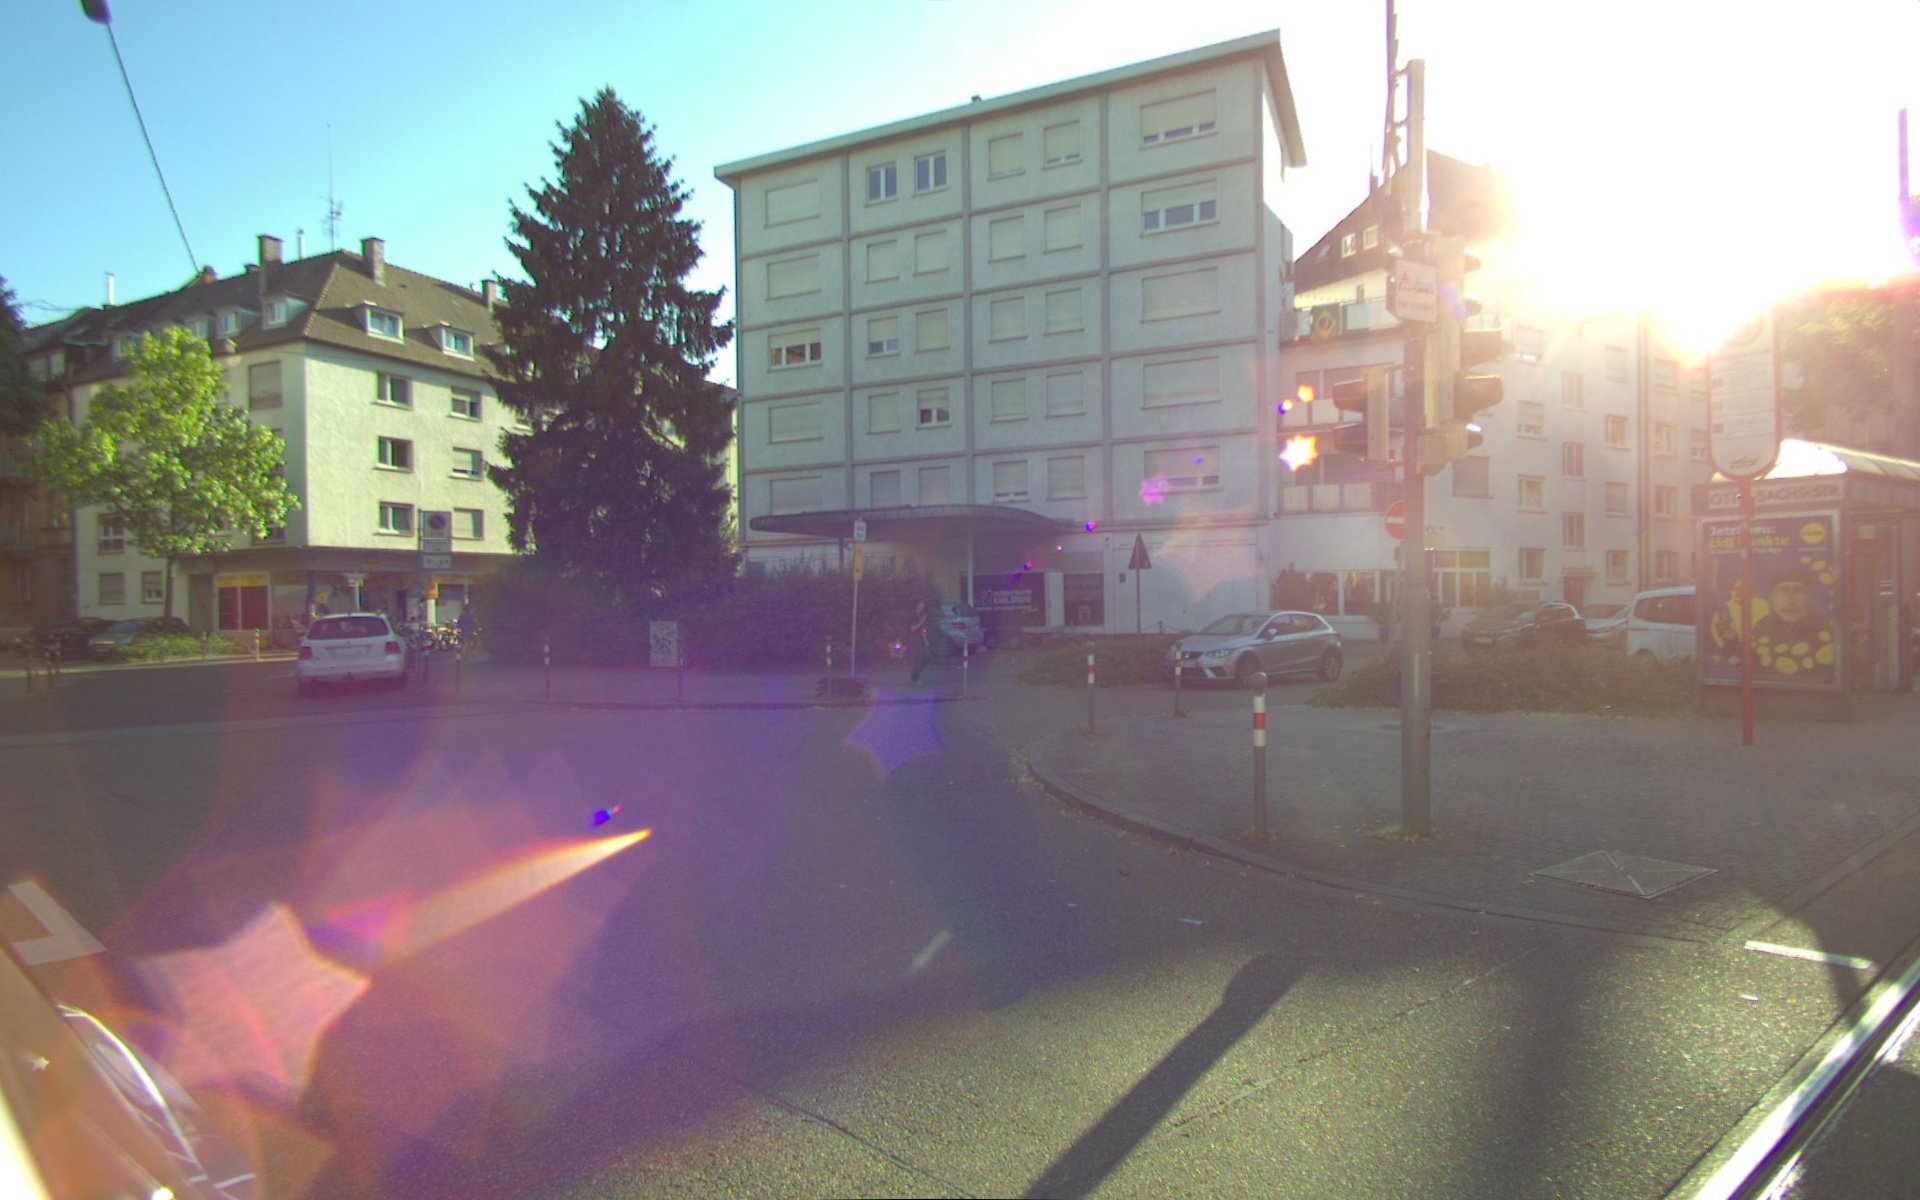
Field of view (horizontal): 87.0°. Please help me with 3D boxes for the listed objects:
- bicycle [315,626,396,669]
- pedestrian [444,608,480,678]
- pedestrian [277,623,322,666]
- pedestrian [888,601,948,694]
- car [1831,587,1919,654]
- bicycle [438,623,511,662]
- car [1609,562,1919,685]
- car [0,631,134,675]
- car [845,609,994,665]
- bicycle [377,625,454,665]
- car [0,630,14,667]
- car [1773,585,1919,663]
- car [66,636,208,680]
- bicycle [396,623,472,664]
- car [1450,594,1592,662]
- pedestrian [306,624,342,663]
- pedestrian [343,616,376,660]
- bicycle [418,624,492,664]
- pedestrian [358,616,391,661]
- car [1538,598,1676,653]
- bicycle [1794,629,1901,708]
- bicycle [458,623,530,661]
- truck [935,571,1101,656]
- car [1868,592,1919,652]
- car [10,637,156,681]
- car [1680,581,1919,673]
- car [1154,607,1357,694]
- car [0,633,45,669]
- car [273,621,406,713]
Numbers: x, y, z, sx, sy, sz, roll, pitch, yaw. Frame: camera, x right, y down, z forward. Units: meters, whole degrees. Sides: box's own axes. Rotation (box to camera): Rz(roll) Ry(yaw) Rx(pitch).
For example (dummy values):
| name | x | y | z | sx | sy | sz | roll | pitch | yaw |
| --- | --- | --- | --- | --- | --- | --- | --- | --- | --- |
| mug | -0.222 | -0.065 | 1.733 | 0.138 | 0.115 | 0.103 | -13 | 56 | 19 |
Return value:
| name | x | y | z | sx | sy | sz | roll | pitch | yaw |
| --- | --- | --- | --- | --- | --- | --- | --- | --- | --- |
| bicycle | -21.505 | 1.670 | 36.003 | 3.364 | 1.456 | 0.873 | -1 | 0 | 28 |
| pedestrian | -14.945 | 1.265 | 30.344 | 0.848 | 2.029 | 0.988 | -1 | -1 | -31 |
| pedestrian | -27.270 | 1.830 | 41.789 | 0.958 | 1.679 | 1.205 | -2 | -1 | 26 |
| pedestrian | -0.834 | 0.907 | 19.930 | 0.856 | 1.749 | 0.833 | -1 | 0 | -32 |
| car | 22.772 | 0.396 | 23.132 | 1.583 | 1.470 | 4.246 | -3 | -4 | -7 |
| bicycle | -19.681 | 1.699 | 40.986 | 3.364 | 1.456 | 0.873 | 0 | 0 | 28 |
| car | 12.894 | 0.480 | 16.613 | 1.585 | 1.665 | 4.240 | -3 | -4 | 0 |
| car | -35.991 | 2.102 | 40.782 | 1.853 | 1.580 | 3.987 | -2 | -1 | 10 |
| car | -1.209 | 1.093 | 30.058 | 3.982 | 1.544 | 1.981 | -2 | -1 | 29 |
| bicycle | -20.582 | 1.674 | 38.237 | 3.364 | 1.456 | 0.873 | -1 | 0 | 28 |
| car | -44.347 | 2.205 | 44.559 | 1.845 | 1.648 | 4.004 | -2 | -1 | -4 |
| car | 19.958 | 0.499 | 21.434 | 1.583 | 1.519 | 4.246 | -3 | -4 | -7 |
| car | -30.992 | 2.141 | 38.259 | 1.851 | 1.410 | 3.990 | -2 | -1 | 8 |
| bicycle | -20.468 | 1.665 | 39.358 | 3.364 | 1.456 | 0.873 | 0 | 0 | 28 |
| car | 15.514 | 0.749 | 27.962 | 3.933 | 1.686 | 1.721 | -2 | -2 | -33 |
| pedestrian | -27.082 | 1.850 | 43.101 | 0.886 | 1.581 | 0.955 | -2 | -1 | 26 |
| pedestrian | -26.056 | 1.645 | 43.930 | 0.847 | 1.889 | 0.883 | -2 | -1 | 25 |
| bicycle | -20.103 | 1.720 | 40.239 | 3.364 | 1.456 | 0.873 | 0 | 0 | 28 |
| pedestrian | -25.265 | 1.647 | 43.678 | 0.847 | 1.889 | 0.883 | -2 | -1 | 25 |
| car | 19.382 | 0.763 | 30.292 | 3.931 | 1.457 | 1.721 | -2 | -2 | -28 |
| bicycle | 10.042 | 0.749 | 11.437 | 1.615 | 0.789 | 0.451 | -1 | -1 | -33 |
| bicycle | -19.243 | 1.705 | 41.789 | 3.364 | 1.456 | 0.873 | 0 | 0 | 28 |
| truck | 1.870 | 0.454 | 32.878 | 4.944 | 2.554 | 1.983 | -2 | -1 | 25 |
| car | 24.843 | 0.416 | 24.434 | 1.583 | 1.470 | 4.246 | -3 | -4 | -7 |
| car | -33.402 | 2.220 | 38.698 | 1.851 | 1.410 | 3.990 | -2 | -1 | 8 |
| car | 15.788 | 0.558 | 18.593 | 1.674 | 1.448 | 4.211 | -3 | -4 | -6 |
| car | 5.861 | 0.947 | 19.933 | 3.934 | 1.457 | 1.720 | -1 | -2 | -36 |
| car | -41.553 | 2.210 | 43.021 | 1.845 | 1.516 | 4.004 | -2 | -1 | -4 |
| car | -11.850 | 1.204 | 19.584 | 1.890 | 1.461 | 4.309 | -2 | 0 | -28 |
